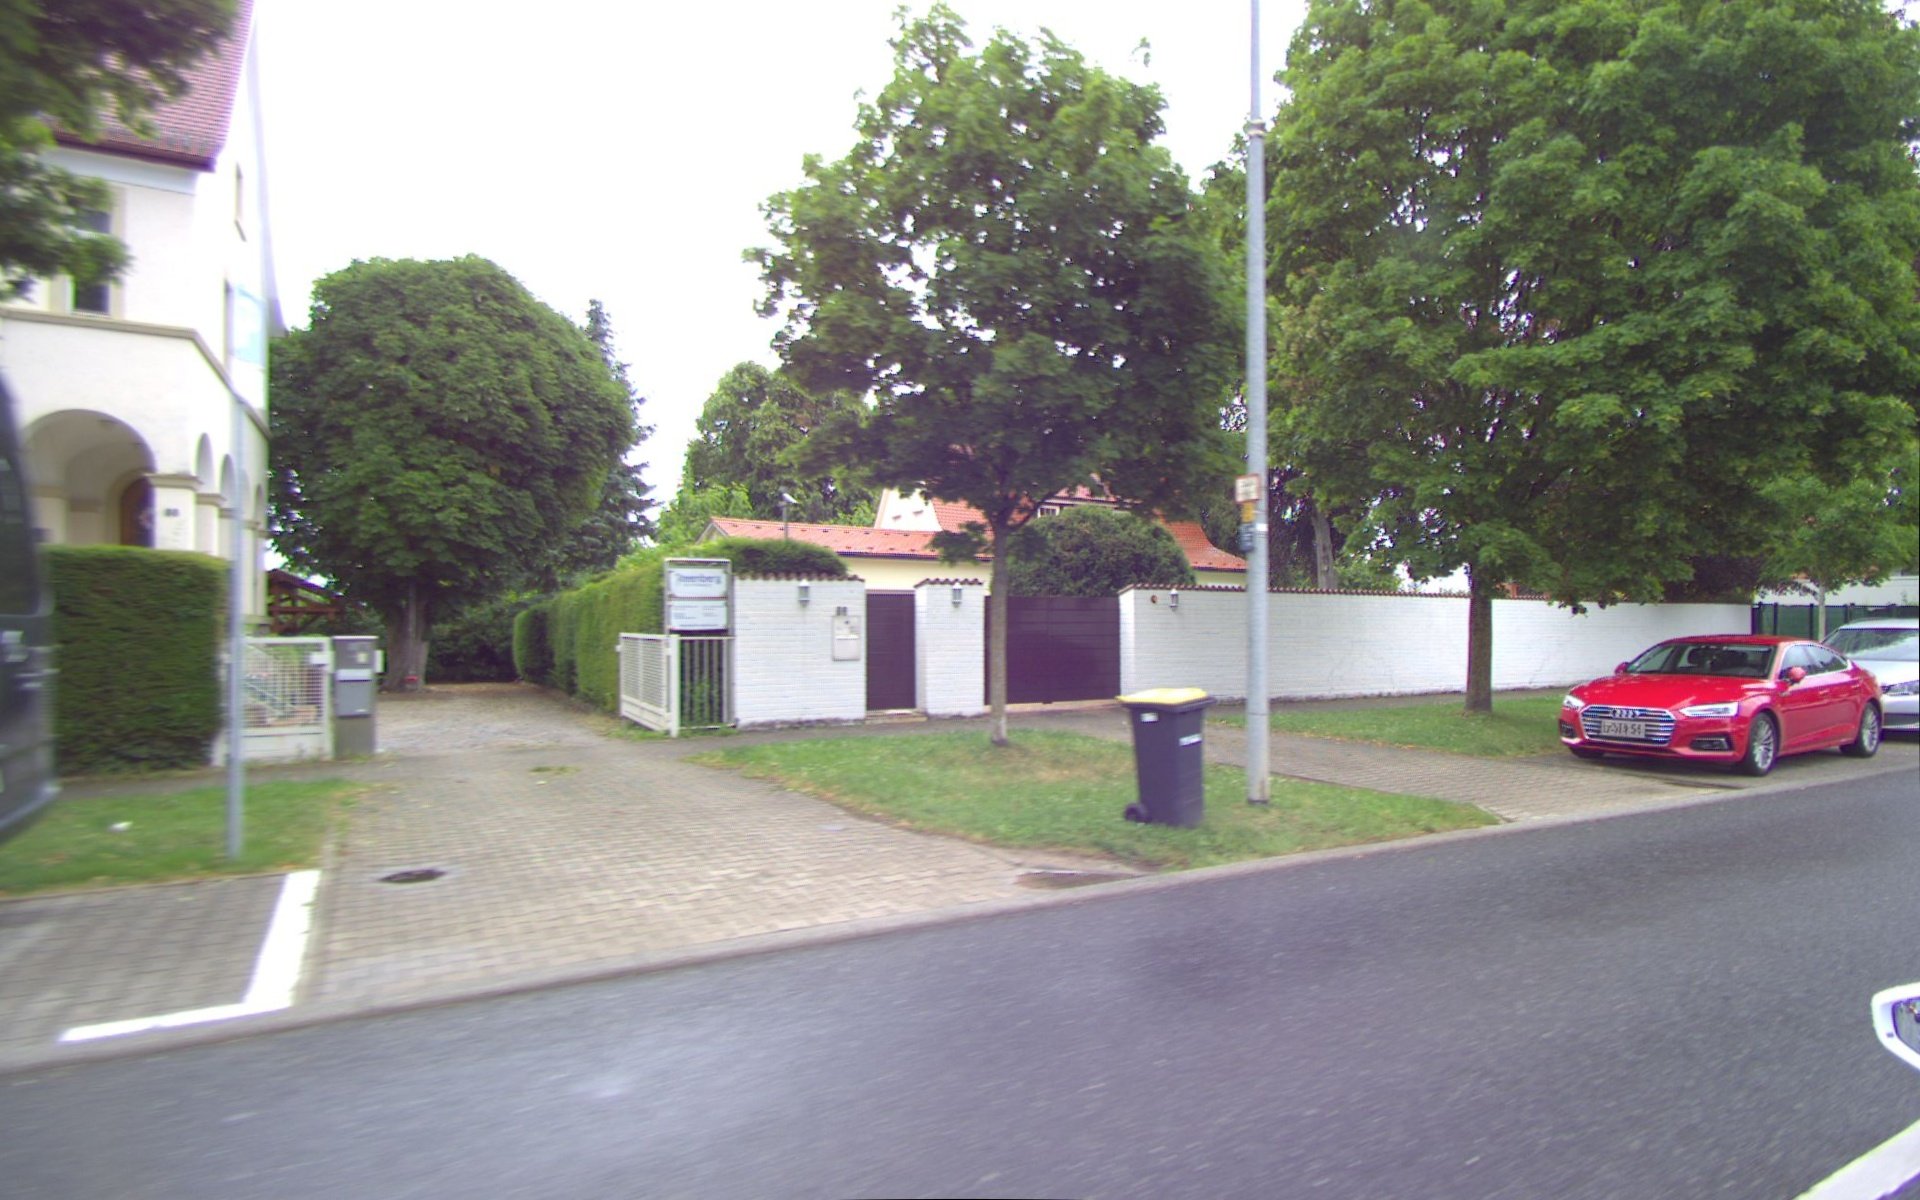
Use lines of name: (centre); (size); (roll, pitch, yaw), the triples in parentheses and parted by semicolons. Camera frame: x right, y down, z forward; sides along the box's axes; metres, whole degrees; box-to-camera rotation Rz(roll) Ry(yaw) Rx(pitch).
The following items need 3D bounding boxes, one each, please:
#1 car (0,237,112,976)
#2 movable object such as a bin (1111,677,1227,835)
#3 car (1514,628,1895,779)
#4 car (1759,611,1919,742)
car: (-6.426, -0.003, 2.819); (5.867, 2.765, 1.984); (1, 0, -30)
movable object such as a bin: (1.404, 1.023, 6.773); (0.542, 0.966, 0.556); (1, -1, -26)
car: (8.656, 1.049, 11.601); (4.504, 1.422, 1.984); (1, -1, -31)
car: (13.484, 1.014, 14.401); (4.181, 1.649, 1.749); (1, -1, -30)
